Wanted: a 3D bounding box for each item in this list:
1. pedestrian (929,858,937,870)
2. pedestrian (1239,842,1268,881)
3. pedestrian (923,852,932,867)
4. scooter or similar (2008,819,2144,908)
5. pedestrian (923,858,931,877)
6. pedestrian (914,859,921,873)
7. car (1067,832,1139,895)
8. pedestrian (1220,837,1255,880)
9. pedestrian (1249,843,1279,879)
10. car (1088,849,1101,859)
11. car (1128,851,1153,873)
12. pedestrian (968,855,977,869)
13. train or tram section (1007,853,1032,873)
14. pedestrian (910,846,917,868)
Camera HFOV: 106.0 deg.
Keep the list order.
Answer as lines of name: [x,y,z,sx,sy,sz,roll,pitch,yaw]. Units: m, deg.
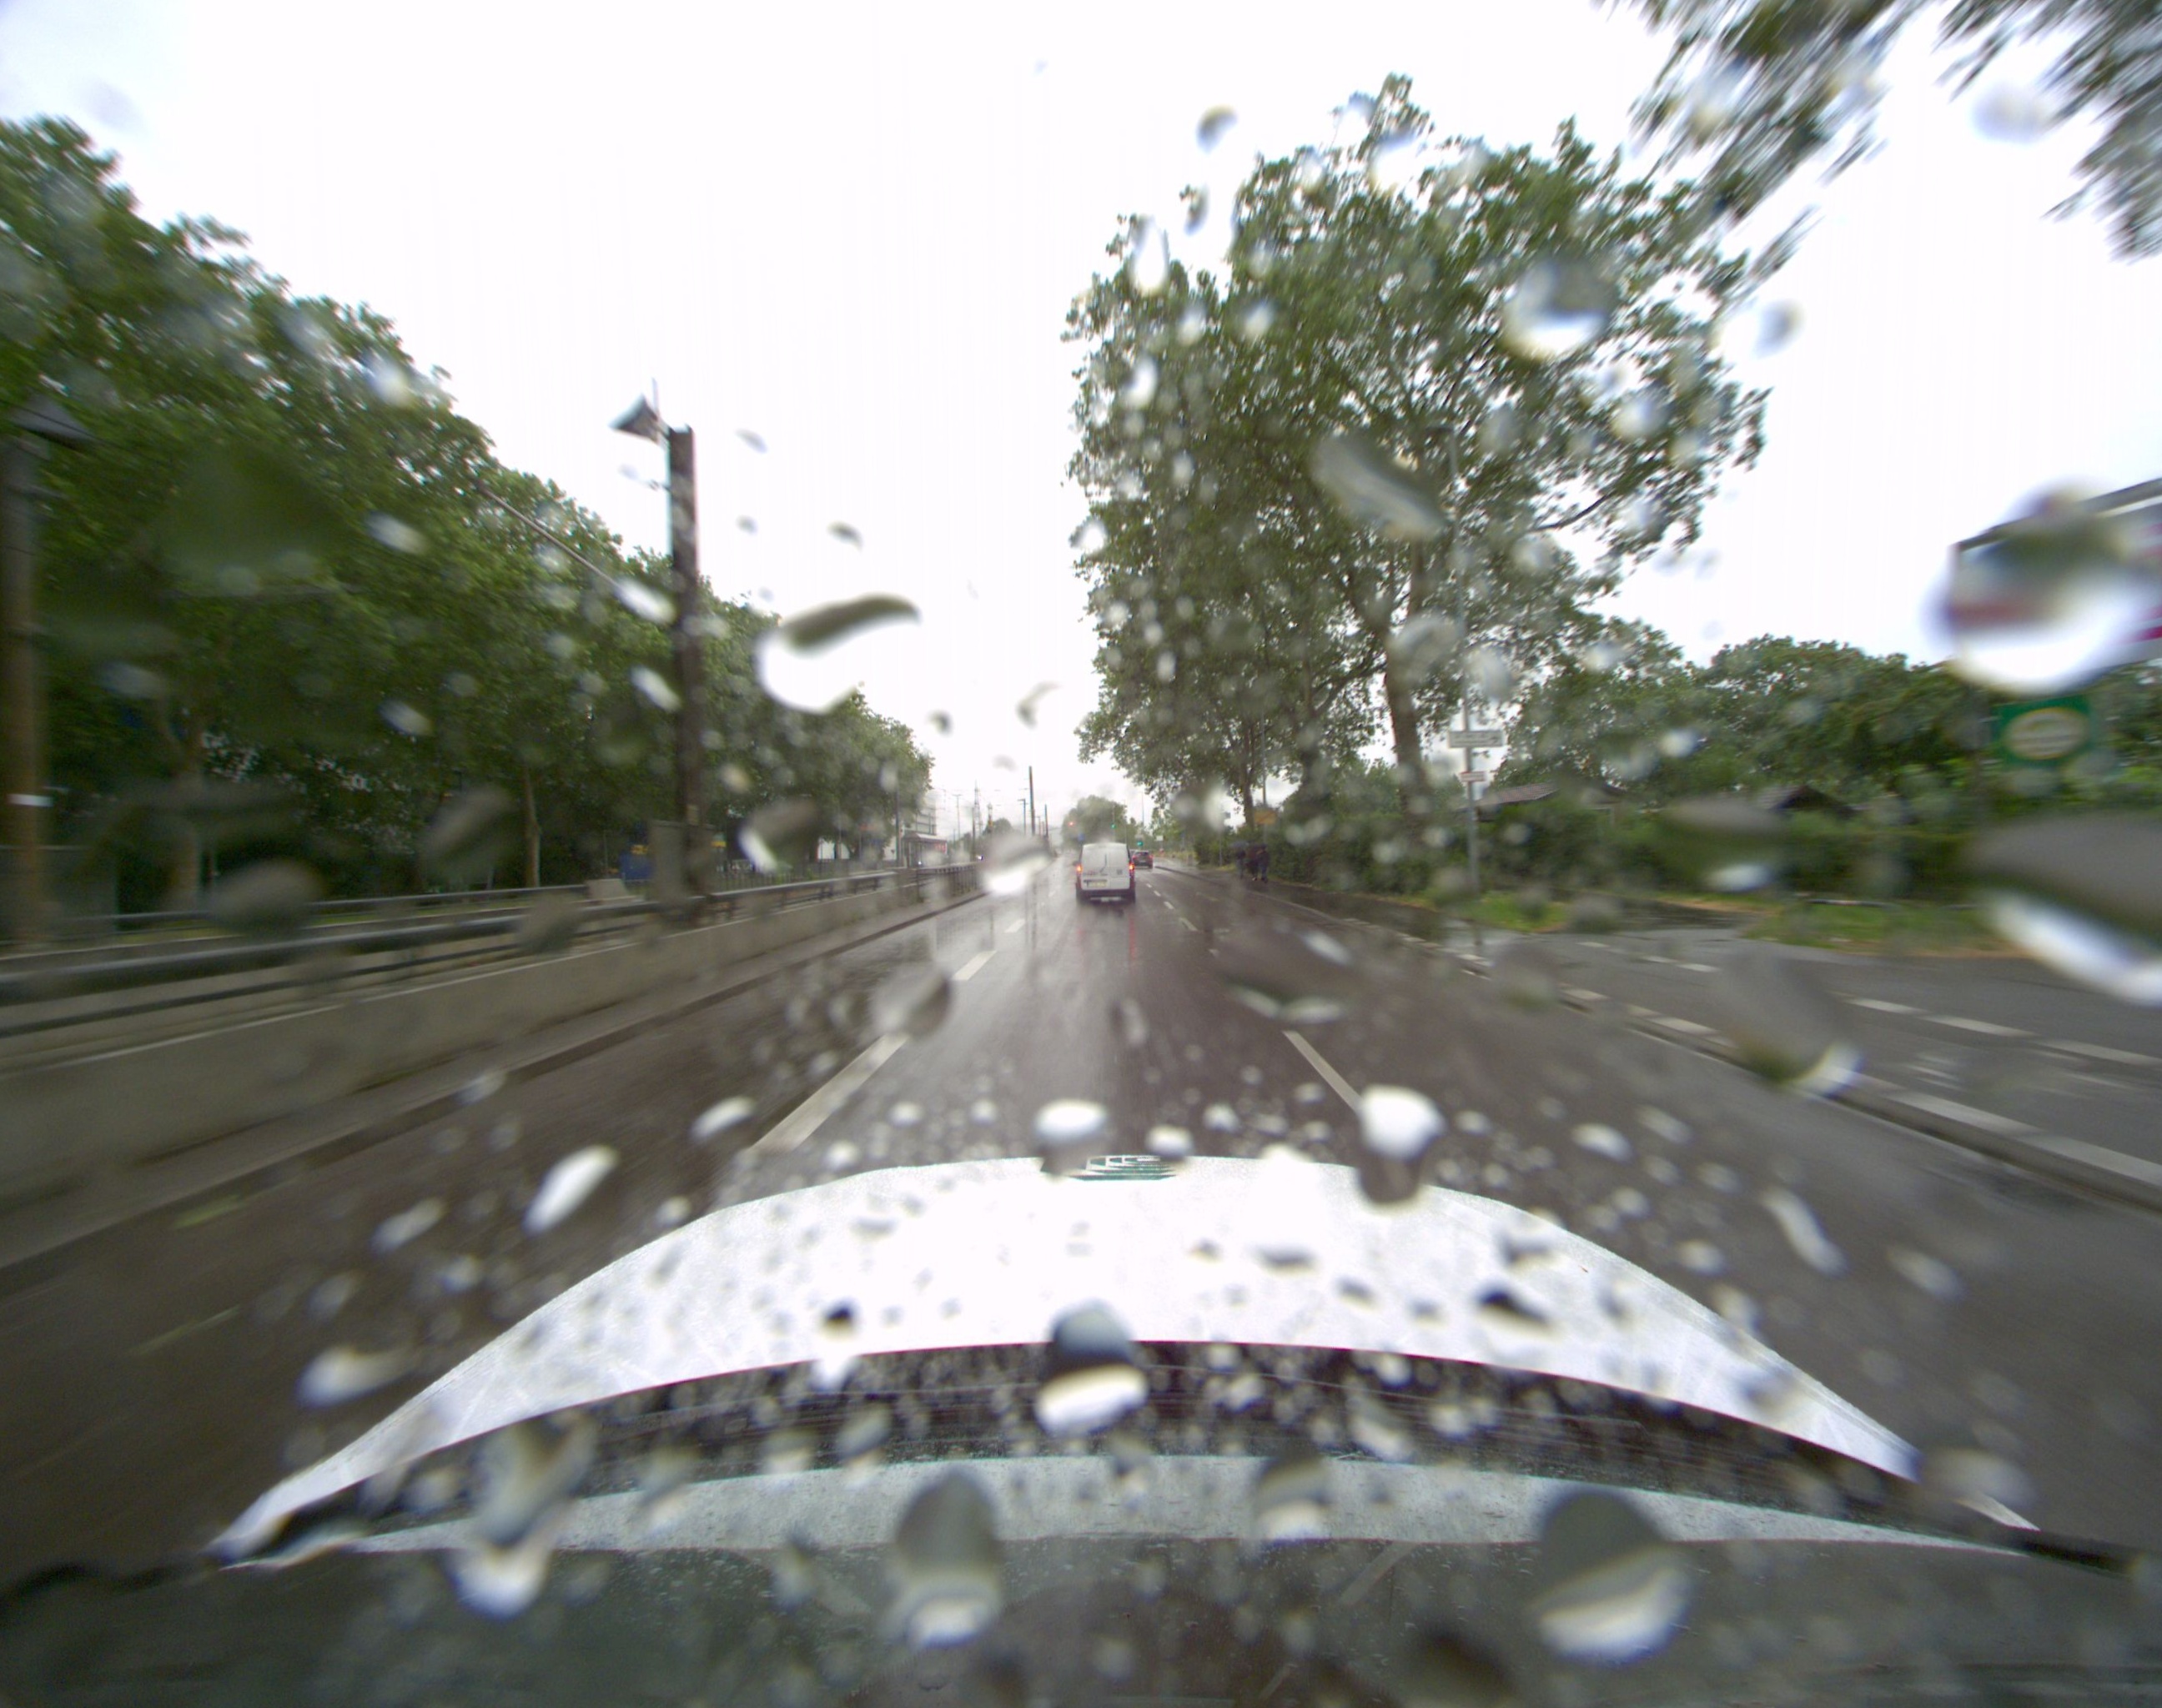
pedestrian: [-15.826,1.057,87.118,0.640,1.303,0.815,0,-1,5]
pedestrian: [7.328,0.331,34.718,0.943,1.589,1.294,-2,-1,1]
pedestrian: [-15.951,0.562,84.538,0.829,1.561,0.667,1,-1,-25]
scooter or similar: [13.224,0.134,10.867,0.455,1.117,1.280,0,-1,14]
pedestrian: [-15.417,1.369,81.426,0.618,1.933,0.815,0,-1,5]
pedestrian: [-15.520,1.153,77.343,0.491,1.268,0.665,0,-1,5]
car: [0.593,0.297,25.066,2.019,1.775,4.271,0,-1,-1]
pedestrian: [7.030,0.212,36.754,1.235,1.785,1.147,-5,-1,1]
pedestrian: [7.271,0.282,32.381,0.889,1.390,1.017,-3,-1,1]
car: [2.504,-0.034,154.683,1.990,1.750,3.992,0,-1,-5]
car: [4.792,0.671,65.822,1.985,1.750,4.003,0,-1,3]
pedestrian: [-15.921,1.229,119.618,1.083,2.014,1.097,0,-1,3]
train or tram section: [-13.214,2.108,178.957,3.759,4.037,27.079,0,-1,-1]
pedestrian: [-15.509,0.271,75.237,0.491,2.014,0.582,0,-1,1]
